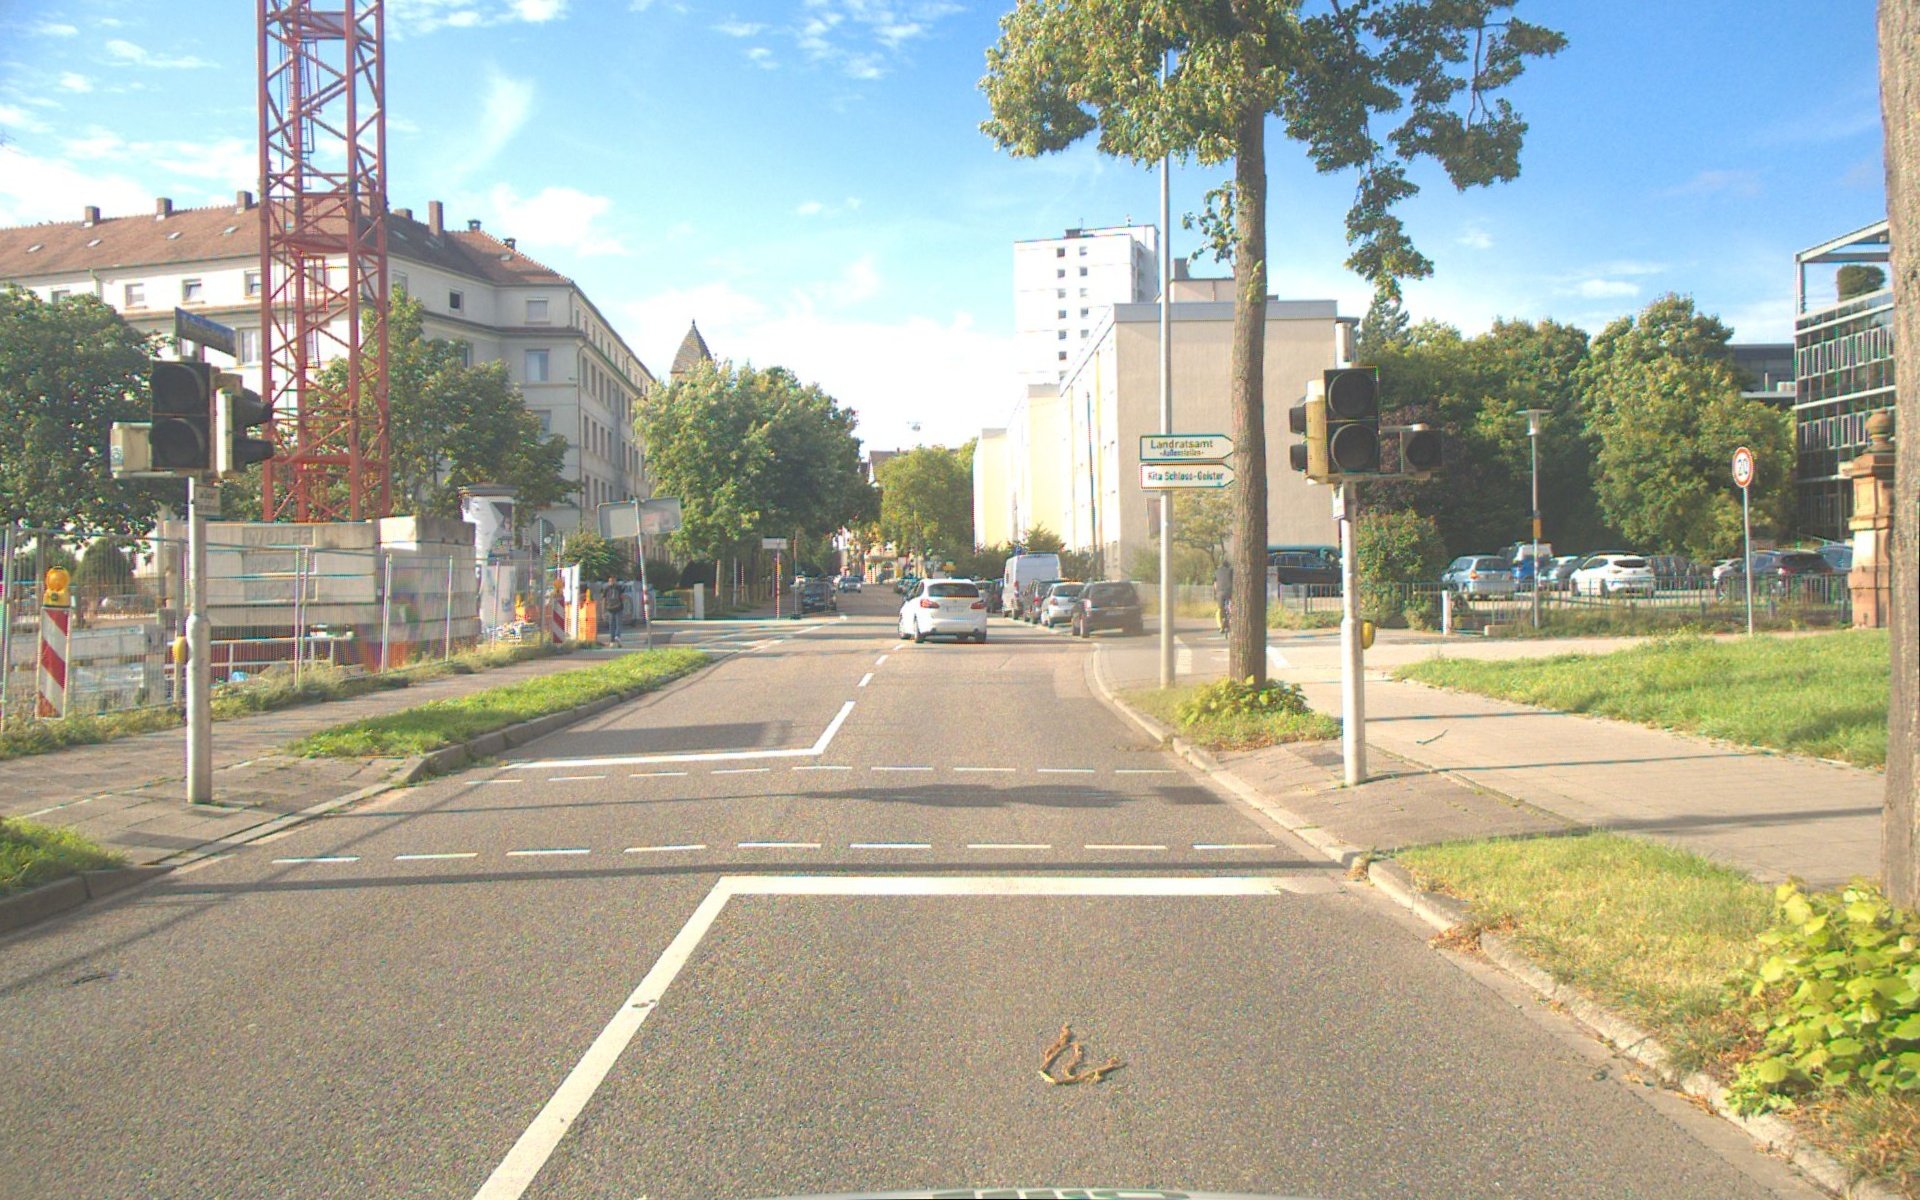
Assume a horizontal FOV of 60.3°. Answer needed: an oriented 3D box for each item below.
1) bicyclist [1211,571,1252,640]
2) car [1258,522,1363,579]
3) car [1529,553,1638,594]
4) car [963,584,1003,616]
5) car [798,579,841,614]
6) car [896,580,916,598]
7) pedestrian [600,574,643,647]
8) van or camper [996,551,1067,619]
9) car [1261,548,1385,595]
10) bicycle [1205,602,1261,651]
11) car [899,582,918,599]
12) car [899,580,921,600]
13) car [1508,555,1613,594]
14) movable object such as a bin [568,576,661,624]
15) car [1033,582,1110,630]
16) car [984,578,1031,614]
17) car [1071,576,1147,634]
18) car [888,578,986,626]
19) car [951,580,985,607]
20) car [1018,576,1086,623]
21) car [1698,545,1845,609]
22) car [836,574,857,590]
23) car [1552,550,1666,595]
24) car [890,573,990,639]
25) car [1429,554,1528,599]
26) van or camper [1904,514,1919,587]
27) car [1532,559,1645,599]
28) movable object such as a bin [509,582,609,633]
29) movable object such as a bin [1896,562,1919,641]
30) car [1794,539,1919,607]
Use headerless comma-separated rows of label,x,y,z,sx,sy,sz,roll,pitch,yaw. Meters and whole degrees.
bicyclist,6.354,0.124,38.746,0.722,1.540,0.874,-3,0,-2
car,14.795,-2.072,69.989,4.034,2.224,2.001,-2,1,2
car,26.905,-1.157,71.448,3.907,1.623,1.999,-2,1,-2
car,1.221,-0.030,89.785,1.953,1.601,3.999,-2,1,-2
car,-7.214,-0.214,84.539,1.956,1.668,3.994,-2,1,-7
car,-5.607,-1.147,171.812,1.953,1.785,3.999,0,0,-1
pedestrian,-8.291,0.253,40.459,0.989,1.758,1.174,-1,-1,-13
van or camper,2.913,-0.634,68.589,2.166,2.652,5.366,-2,1,-5
car,13.941,-1.096,63.730,4.356,1.650,2.001,-2,1,2
bicycle,6.383,0.593,38.751,0.725,1.052,2.761,-3,0,-2
car,-5.502,-1.058,176.595,1.953,1.785,3.999,0,0,-1
car,-4.724,-0.946,156.565,1.953,1.785,3.999,0,0,-1
car,26.761,-1.134,73.790,3.907,1.579,1.999,-2,1,-2
movable object such as a bin,-12.753,0.005,61.090,3.037,1.737,1.411,0,0,12
car,3.795,0.213,57.064,1.976,1.500,4.798,-3,0,-4
car,2.235,-0.227,79.342,1.953,1.601,3.999,-2,1,-2
car,4.046,0.128,45.516,1.682,1.522,4.268,0,0,0
car,-0.748,0.047,57.019,1.953,1.598,4.000,0,1,22
car,0.485,-0.404,102.859,1.953,1.601,3.999,-2,1,-2
car,3.424,-0.055,62.405,1.954,1.644,4.404,-2,1,-4
car,22.791,-0.620,46.663,1.812,1.617,4.607,-2,0,0
car,-12.425,-2.008,181.534,2.017,1.692,3.920,-2,1,-7
car,22.537,-0.942,57.615,1.956,1.467,3.993,-2,1,-8
car,-0.570,0.139,41.950,1.957,1.582,4.265,0,0,-9
car,18.057,-0.814,57.790,1.954,1.467,3.997,-2,1,-4
van or camper,36.634,-1.831,58.373,5.135,2.601,2.595,-2,1,-3
car,26.152,-0.873,68.861,3.907,1.512,1.999,-2,1,-2
movable object such as a bin,-13.981,0.251,57.683,3.037,1.737,1.549,0,0,13
movable object such as a bin,15.793,0.021,26.299,1.167,1.252,1.092,-1,0,-5
car,25.636,-0.737,46.220,1.814,1.774,4.796,-2,0,-6
